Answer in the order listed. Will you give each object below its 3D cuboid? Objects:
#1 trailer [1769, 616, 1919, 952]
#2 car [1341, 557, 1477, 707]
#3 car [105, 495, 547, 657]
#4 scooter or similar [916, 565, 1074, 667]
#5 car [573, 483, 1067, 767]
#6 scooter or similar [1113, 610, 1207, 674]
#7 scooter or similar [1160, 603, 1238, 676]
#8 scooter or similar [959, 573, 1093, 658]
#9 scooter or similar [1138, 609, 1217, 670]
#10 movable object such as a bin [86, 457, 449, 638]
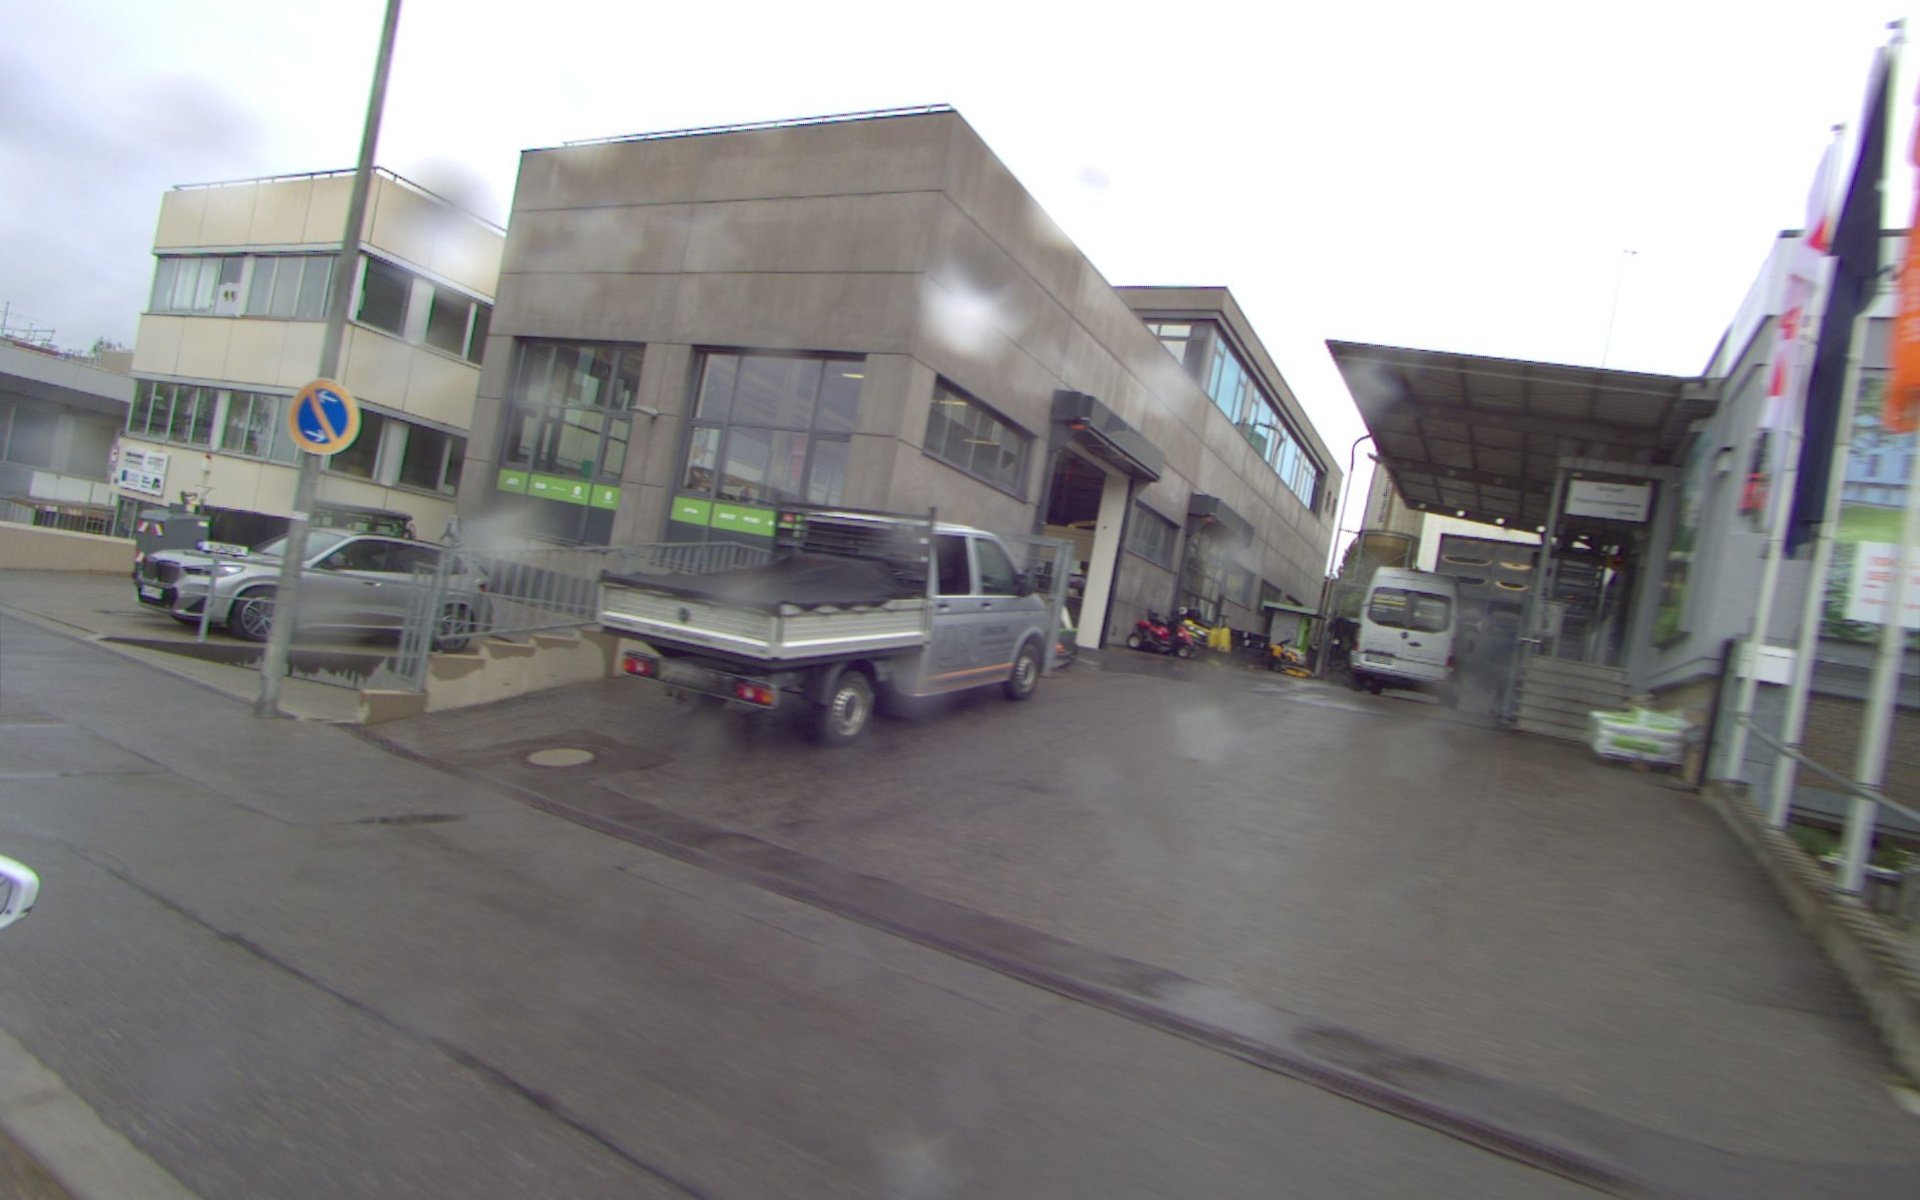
[{"bbox_3d":[9.067,1.677,7.495,4.235,2.445,1.891,8,-1,31],"label":"trailer"},{"bbox_3d":[10.028,0.841,22.176,1.965,2.651,5.405,10,-1,29],"label":"car"},{"bbox_3d":[-8.902,-0.202,14.754,1.892,1.632,5.104,8,-1,28],"label":"car"},{"bbox_3d":[0.520,0.239,15.310,2.030,1.241,1.065,9,3,32],"label":"scooter or similar"},{"bbox_3d":[-1.014,0.049,10.276,2.184,2.043,5.294,6,5,29],"label":"car"},{"bbox_3d":[4.530,0.960,22.815,1.739,1.188,1.000,7,-1,30],"label":"scooter or similar"},{"bbox_3d":[6.023,0.993,25.314,1.561,1.598,0.966,7,-1,25],"label":"scooter or similar"},{"bbox_3d":[1.071,0.249,16.403,1.815,1.170,1.004,7,2,32],"label":"scooter or similar"},{"bbox_3d":[5.246,0.966,24.279,1.561,1.233,0.934,7,-1,26],"label":"scooter or similar"},{"bbox_3d":[-10.487,-0.678,15.618,1.451,2.135,4.264,7,-1,29],"label":"movable object such as a bin"}]
